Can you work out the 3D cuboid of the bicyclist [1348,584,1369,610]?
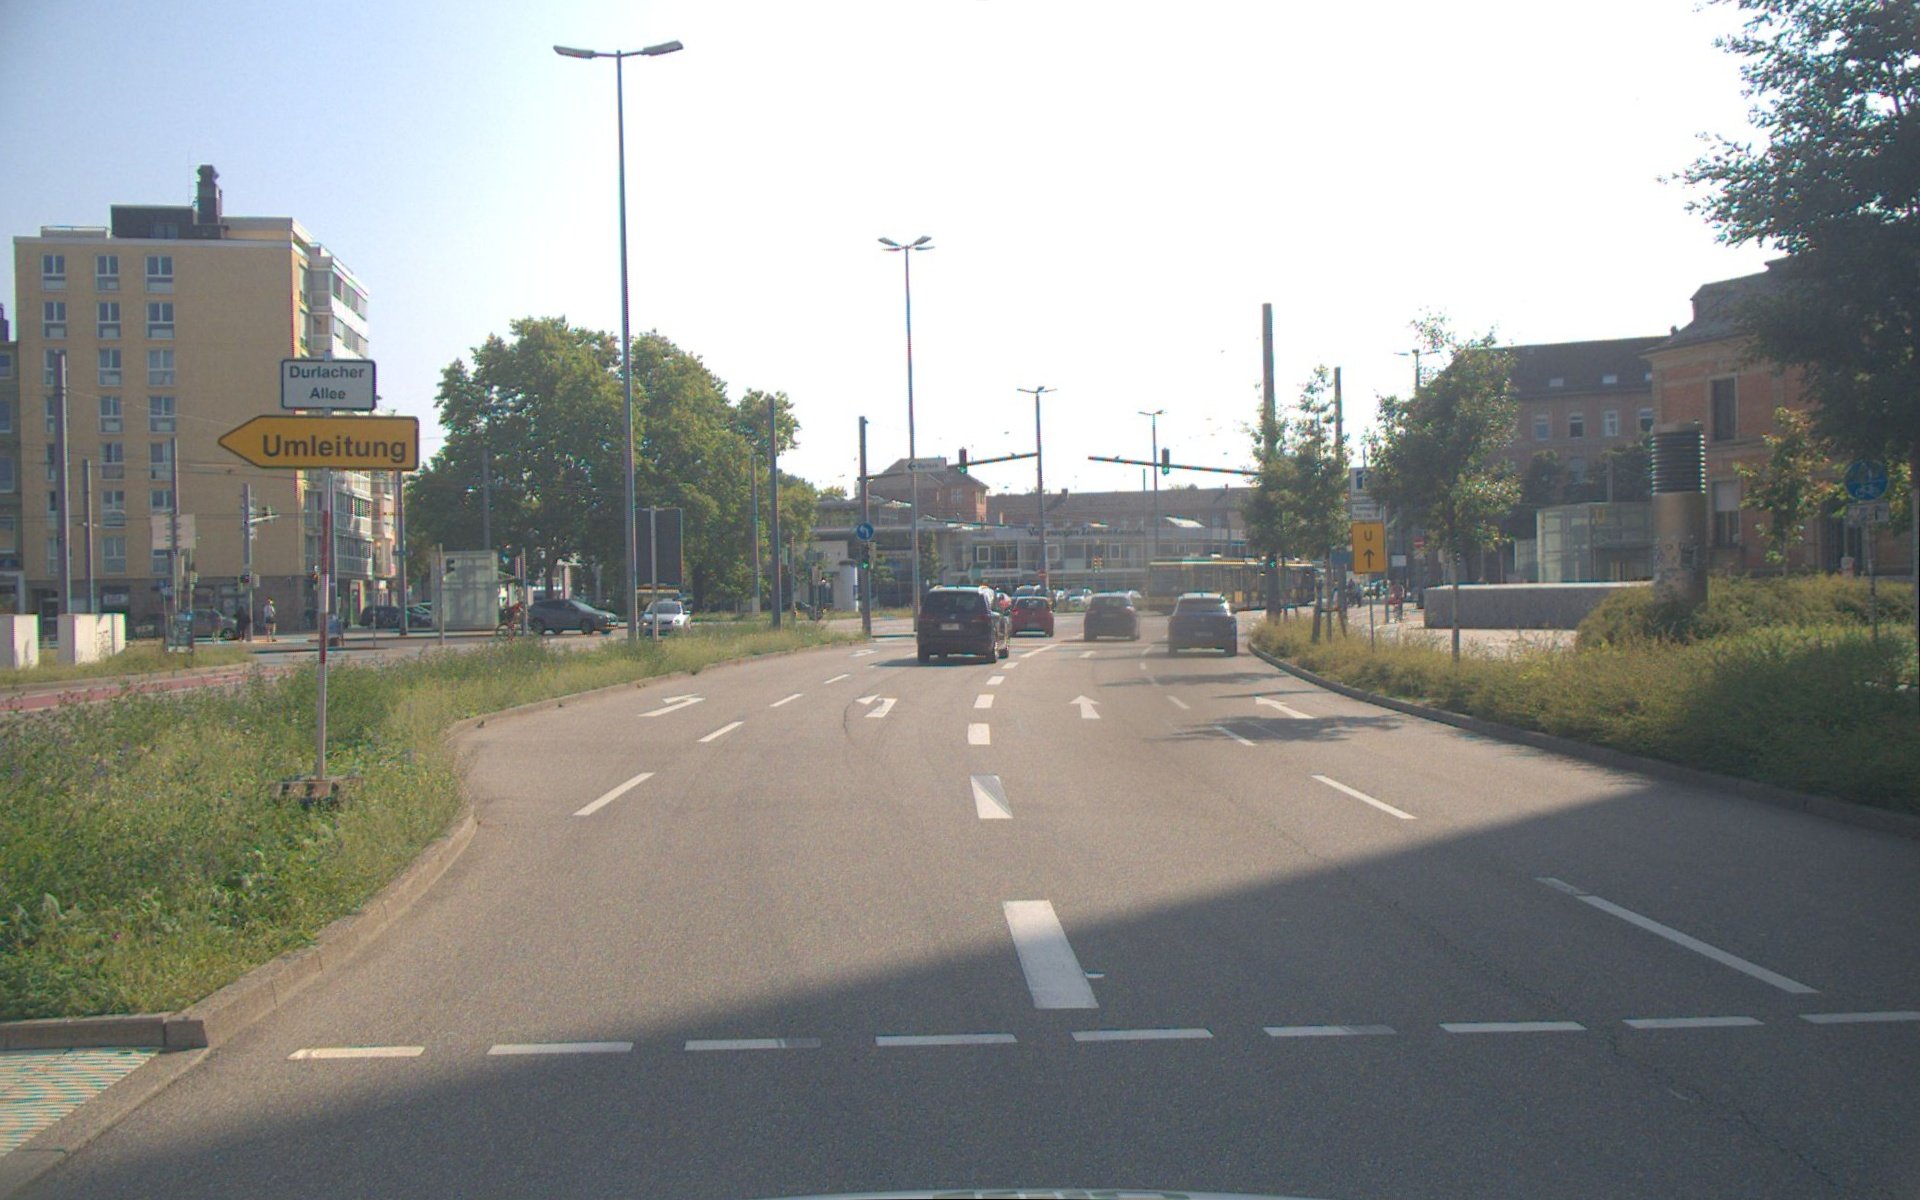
[{"bbox_3d":[26.783,-0.183,111.056,0.919,1.709,1.088,-1,0,-17],"label":"bicyclist"}]

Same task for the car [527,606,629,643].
[{"bbox_3d":[-18.067,1.150,78.295,4.352,1.645,1.701,-1,0,14],"label":"car"}]

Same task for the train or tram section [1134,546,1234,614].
[{"bbox_3d":[13.373,-1.228,97.763,2.602,3.763,10.580,-1,0,26],"label":"train or tram section"}]

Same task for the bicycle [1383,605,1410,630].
[{"bbox_3d":[18.009,0.722,68.232,0.705,0.976,1.919,-1,0,26],"label":"bicycle"}]

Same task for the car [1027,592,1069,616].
[{"bbox_3d":[5.912,0.263,111.083,1.581,1.501,4.000,-3,-1,21],"label":"car"}]

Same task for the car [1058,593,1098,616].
[{"bbox_3d":[8.358,0.285,116.977,1.581,1.501,4.000,-3,-1,21],"label":"car"}]

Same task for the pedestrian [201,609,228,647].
[{"bbox_3d":[-33.919,1.270,75.280,0.905,1.719,0.920,-1,0,-11],"label":"pedestrian"}]

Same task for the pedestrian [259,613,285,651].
[{"bbox_3d":[-31.348,1.455,75.375,0.905,1.719,0.920,-1,0,-11],"label":"pedestrian"}]

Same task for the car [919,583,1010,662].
[{"bbox_3d":[0.169,0.490,39.189,1.787,1.744,4.415,-1,0,5],"label":"car"}]

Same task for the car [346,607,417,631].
[{"bbox_3d":[-36.434,1.184,104.243,4.083,1.378,1.477,-1,0,-12],"label":"car"}]

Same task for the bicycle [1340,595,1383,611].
[{"bbox_3d":[26.971,0.186,111.121,2.577,0.981,1.088,-1,0,-18],"label":"bicycle"}]

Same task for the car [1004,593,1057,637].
[{"bbox_3d":[2.720,0.535,62.714,1.787,1.562,4.415,-2,0,5],"label":"car"}]

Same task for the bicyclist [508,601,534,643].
[{"bbox_3d":[-17.702,0.890,66.705,0.864,1.681,0.725,-1,0,-5],"label":"bicyclist"}]

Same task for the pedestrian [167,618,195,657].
[{"bbox_3d":[-34.942,1.674,74.158,0.905,1.719,0.920,-1,0,-11],"label":"pedestrian"}]

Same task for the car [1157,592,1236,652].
[{"bbox_3d":[6.212,0.549,43.776,1.787,1.453,4.415,-2,0,5],"label":"car"}]

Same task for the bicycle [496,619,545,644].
[{"bbox_3d":[-17.723,1.258,66.701,1.777,0.948,0.725,-1,0,-5],"label":"bicycle"}]

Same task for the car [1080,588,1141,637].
[{"bbox_3d":[5.198,0.394,56.733,1.786,1.562,4.416,-2,0,9],"label":"car"}]

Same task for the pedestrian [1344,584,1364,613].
[{"bbox_3d":[25.810,-0.092,108.413,0.917,1.828,0.849,-1,0,-34],"label":"pedestrian"}]

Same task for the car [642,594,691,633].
[{"bbox_3d":[-11.646,0.522,65.470,1.781,1.458,4.212,-1,0,-12],"label":"car"}]

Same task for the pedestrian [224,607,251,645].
[{"bbox_3d":[-32.835,1.176,75.193,0.905,1.719,0.920,-1,0,-11],"label":"pedestrian"}]

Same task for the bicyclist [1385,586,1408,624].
[{"bbox_3d":[18.032,0.185,68.295,0.705,1.539,1.003,-1,0,27],"label":"bicyclist"}]

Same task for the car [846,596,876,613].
[{"bbox_3d":[-8.958,0.398,149.754,1.663,1.549,4.103,-1,0,11],"label":"car"}]
